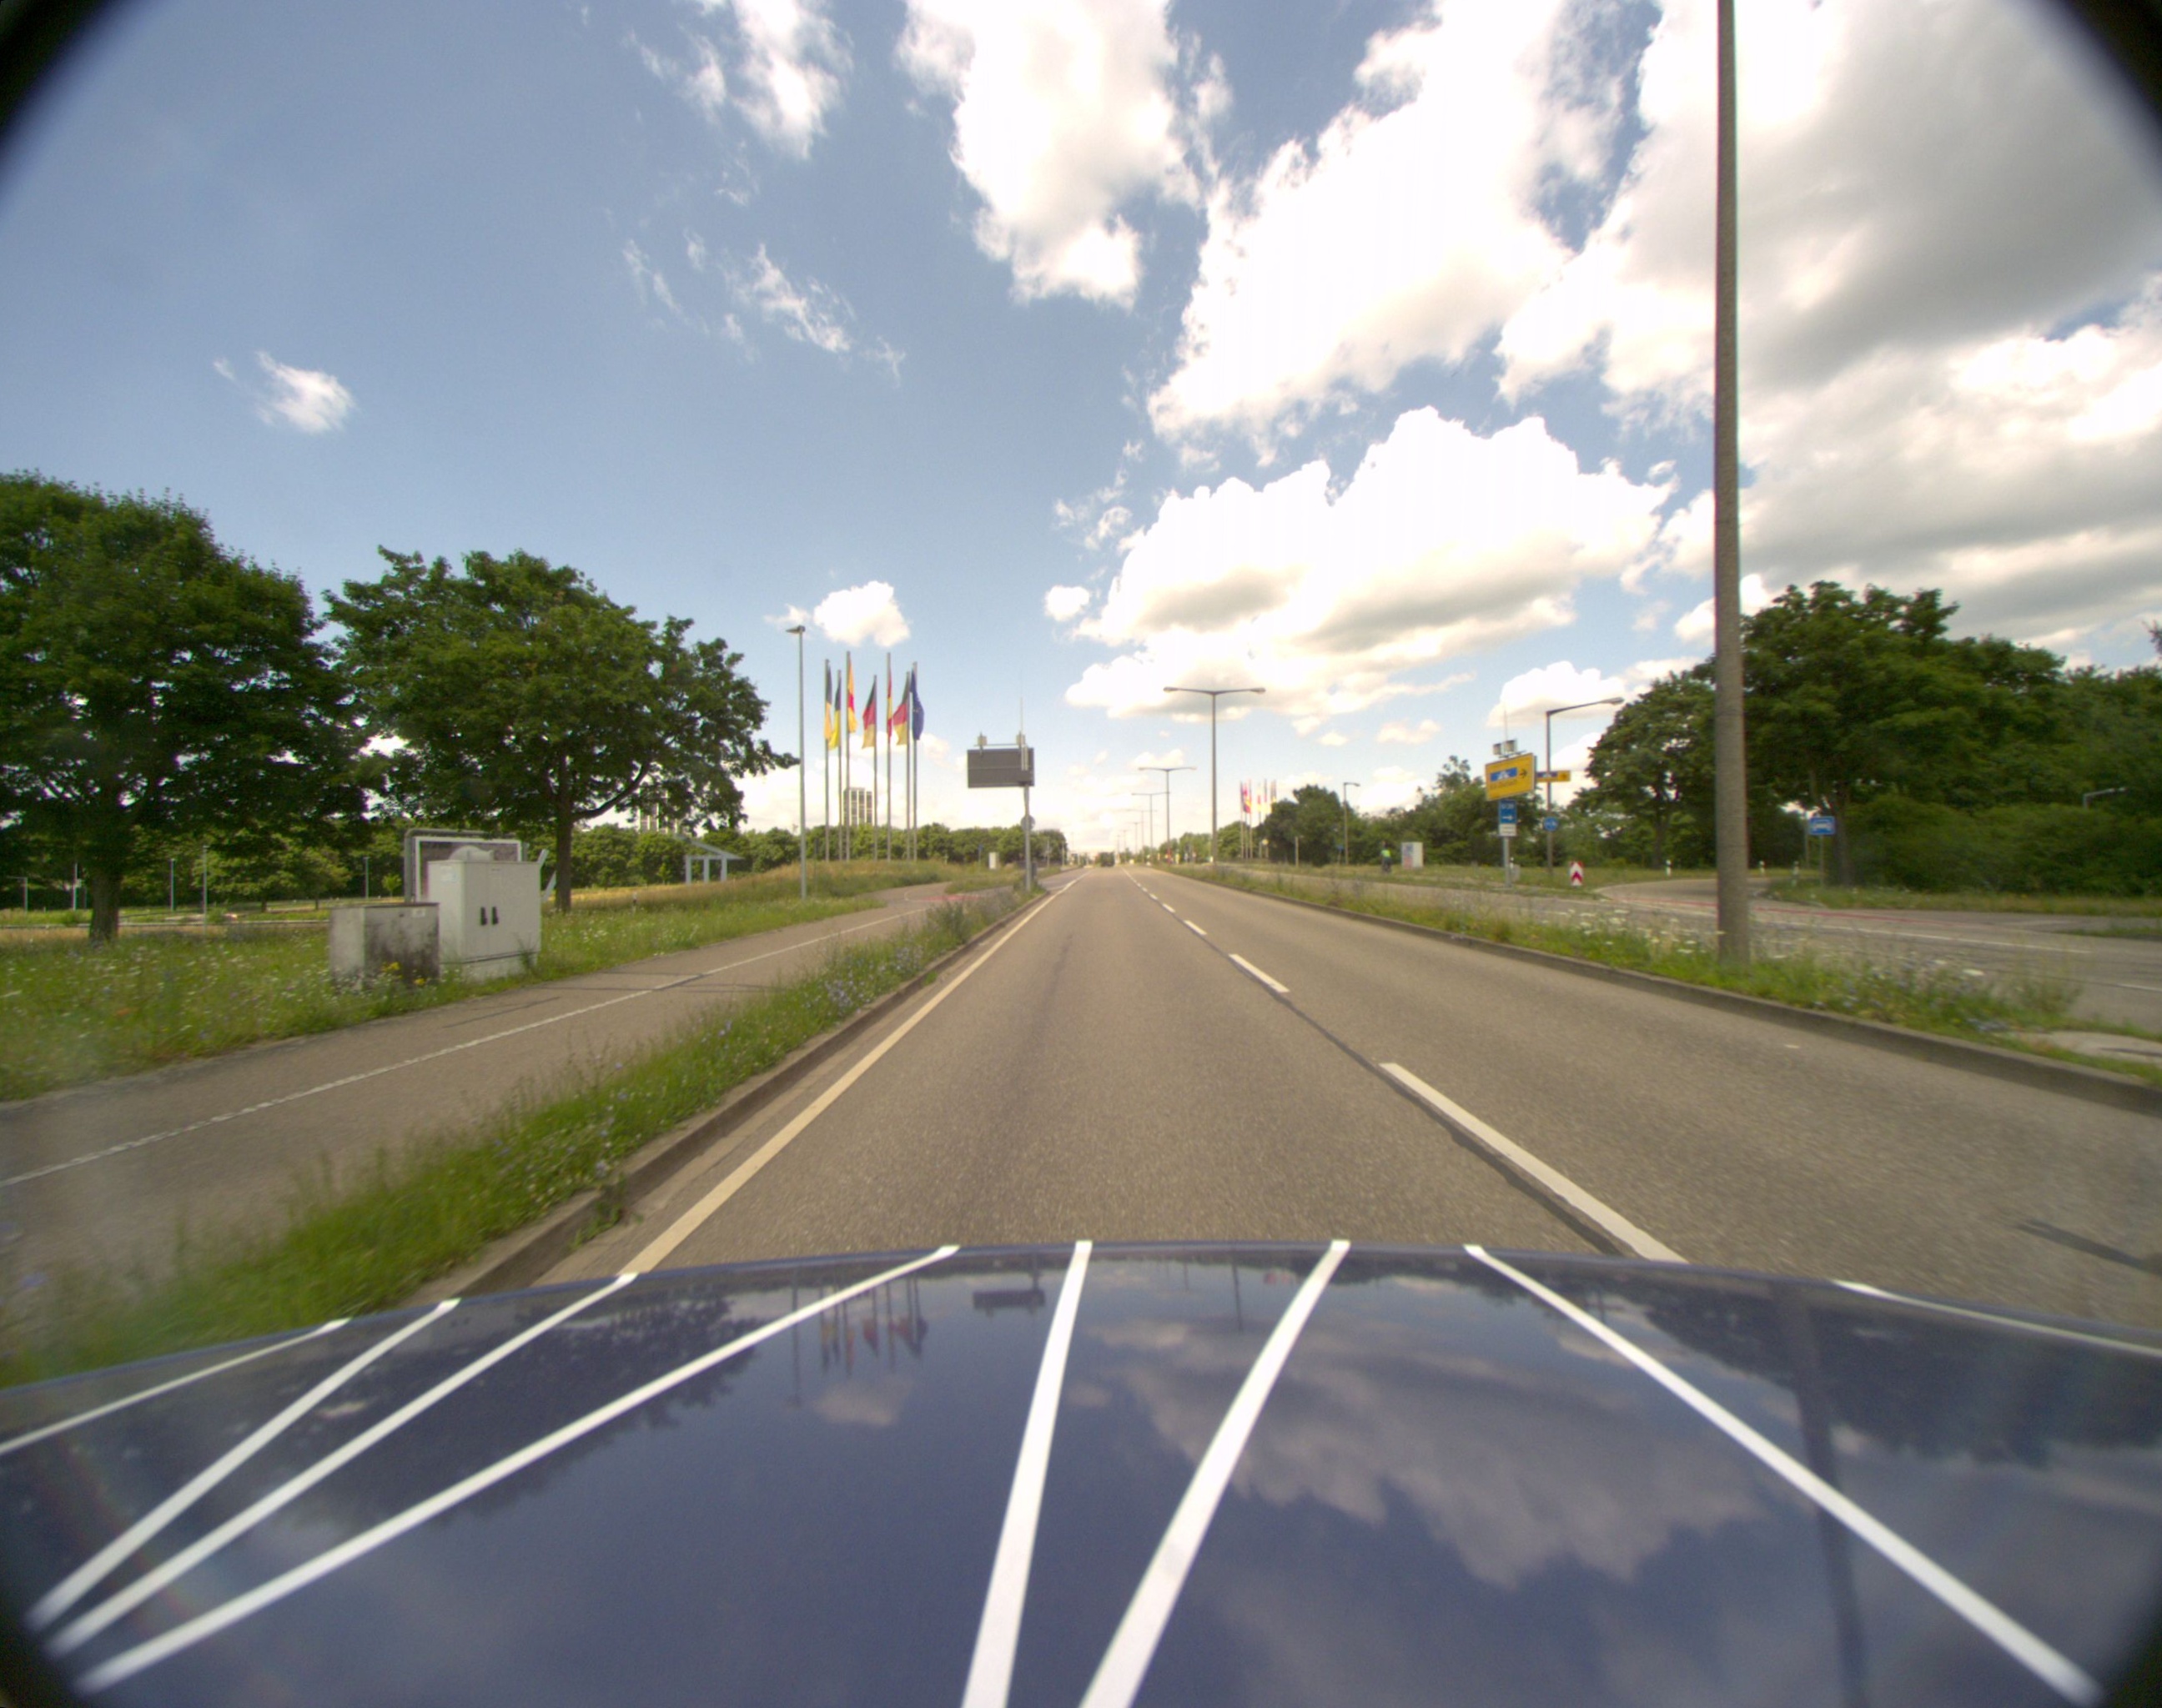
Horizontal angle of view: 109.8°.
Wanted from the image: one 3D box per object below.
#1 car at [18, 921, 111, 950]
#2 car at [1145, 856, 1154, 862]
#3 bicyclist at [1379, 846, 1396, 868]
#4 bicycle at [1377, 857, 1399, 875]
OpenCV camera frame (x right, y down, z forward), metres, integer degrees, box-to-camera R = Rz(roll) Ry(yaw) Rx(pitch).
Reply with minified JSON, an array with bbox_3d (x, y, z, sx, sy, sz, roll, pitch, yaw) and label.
[{"bbox_3d":[-83.032,6.628,62.138,1.997,2.001,4.004,-3,-1,11],"label":"car"},{"bbox_3d":[21.996,1.745,244.384,2.094,1.616,4.550,6,-1,-1],"label":"car"},{"bbox_3d":[18.509,0.173,45.914,0.522,1.264,1.107,-2,-1,-1],"label":"bicyclist"},{"bbox_3d":[18.535,0.717,45.894,0.433,1.062,1.908,-2,-1,-1],"label":"bicycle"}]
